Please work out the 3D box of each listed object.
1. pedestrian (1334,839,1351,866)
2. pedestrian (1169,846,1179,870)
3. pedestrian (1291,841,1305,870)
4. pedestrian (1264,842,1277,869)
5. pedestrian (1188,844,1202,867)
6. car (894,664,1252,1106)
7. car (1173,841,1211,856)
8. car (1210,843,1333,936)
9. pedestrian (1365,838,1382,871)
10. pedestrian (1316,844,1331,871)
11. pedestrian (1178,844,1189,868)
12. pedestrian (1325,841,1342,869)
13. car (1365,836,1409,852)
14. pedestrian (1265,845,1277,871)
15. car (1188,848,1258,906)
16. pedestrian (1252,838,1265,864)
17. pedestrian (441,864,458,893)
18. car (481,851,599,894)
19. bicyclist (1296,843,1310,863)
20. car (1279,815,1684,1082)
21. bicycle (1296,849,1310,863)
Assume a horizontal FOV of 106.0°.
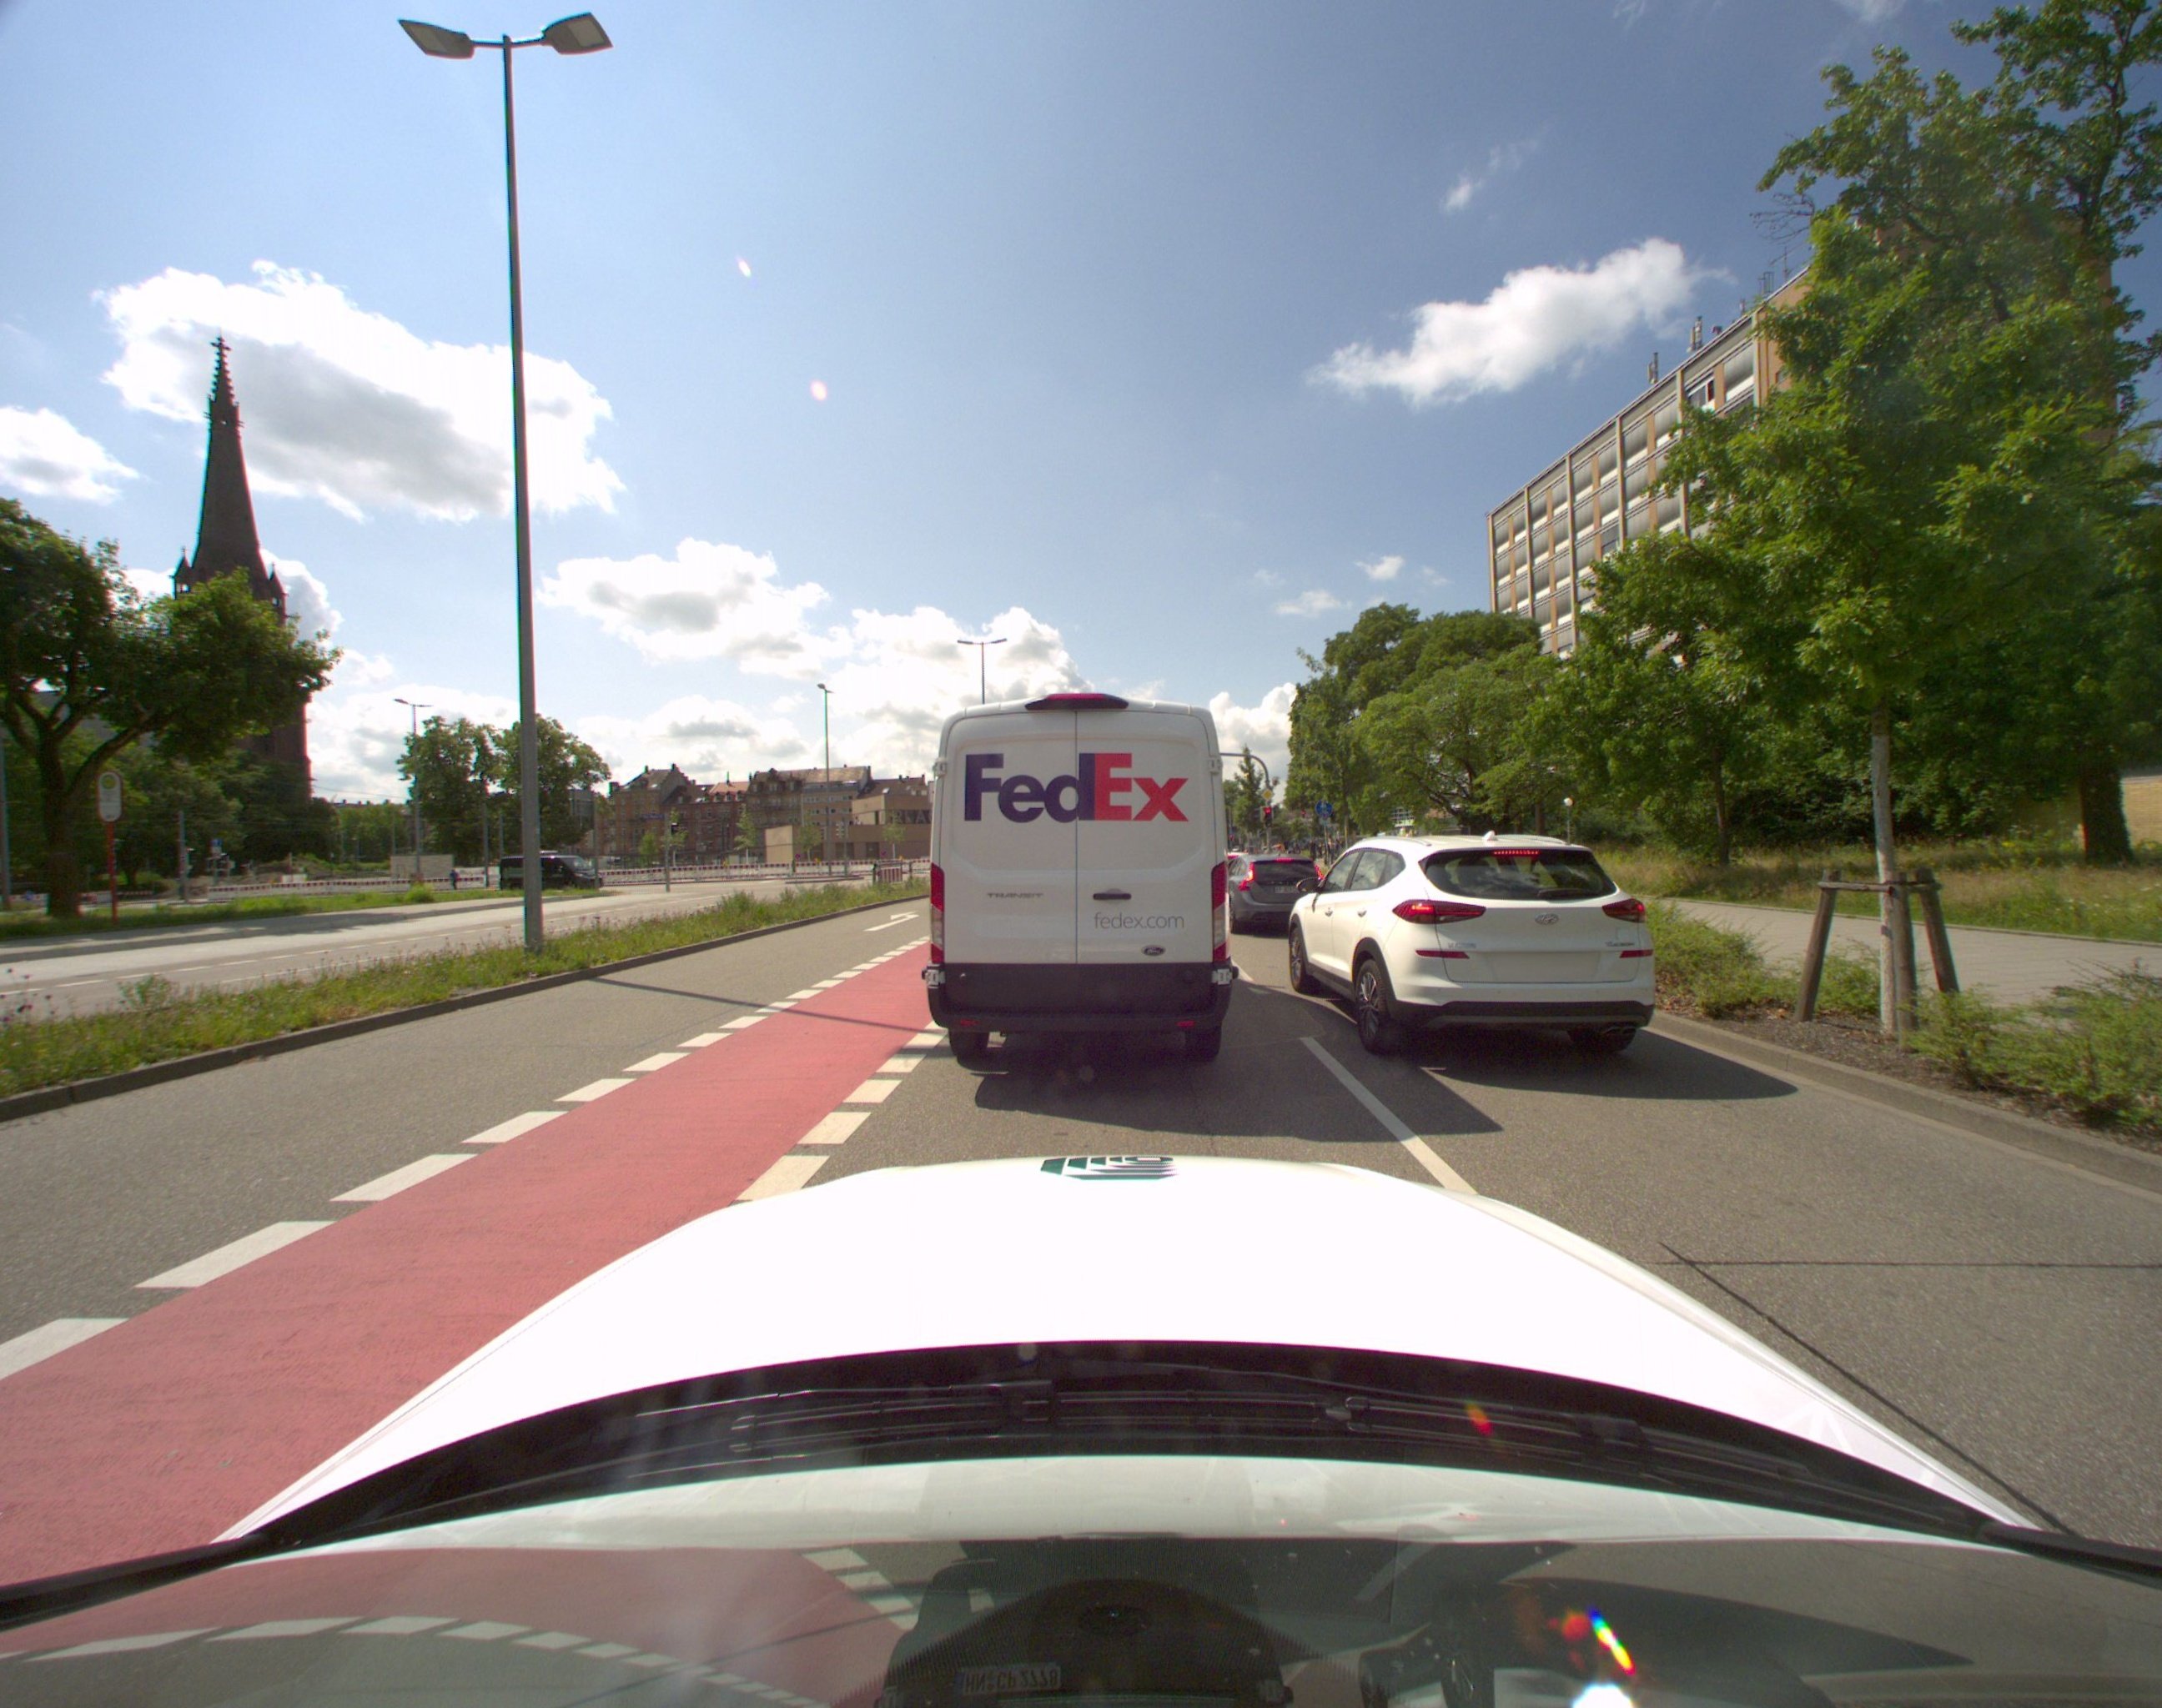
[{"bbox_3d":[17.898,-0.096,55.751,0.758,1.849,0.814,-2,0,-6],"label":"pedestrian"},{"bbox_3d":[7.423,0.310,65.146,0.755,1.849,0.817,-2,0,4],"label":"pedestrian"},{"bbox_3d":[14.046,0.100,52.609,0.752,1.849,0.820,-2,0,20],"label":"pedestrian"},{"bbox_3d":[13.155,0.101,56.537,0.752,1.849,0.820,-2,0,20],"label":"pedestrian"},{"bbox_3d":[9.374,0.095,66.888,0.764,1.849,0.807,-2,0,-34],"label":"pedestrian"},{"bbox_3d":[0.076,0.178,7.072,2.064,2.581,4.432,-2,0,3],"label":"car"},{"bbox_3d":[20.964,-1.087,154.061,7.023,2.717,2.501,0,-1,7],"label":"car"},{"bbox_3d":[3.558,0.598,15.847,1.684,1.549,3.724,-2,0,3],"label":"car"},{"bbox_3d":[16.514,0.032,46.030,0.753,1.849,0.819,-2,0,12],"label":"pedestrian"},{"bbox_3d":[15.582,0.217,52.334,0.755,1.655,0.817,-2,0,5],"label":"pedestrian"},{"bbox_3d":[8.047,0.161,64.015,0.756,1.849,0.816,-2,0,-1],"label":"pedestrian"},{"bbox_3d":[17.130,0.067,55.295,0.758,1.849,0.814,-2,0,-8],"label":"pedestrian"},{"bbox_3d":[54.339,-1.829,144.820,7.063,2.717,2.487,0,-1,-11],"label":"car"},{"bbox_3d":[13.717,0.313,58.881,0.753,1.849,0.820,-2,0,16],"label":"pedestrian"},{"bbox_3d":[3.868,0.581,22.651,1.493,1.464,3.477,-2,0,3],"label":"car"},{"bbox_3d":[13.001,-0.204,59.770,0.810,1.849,0.762,-2,0,5],"label":"pedestrian"},{"bbox_3d":[-44.385,1.725,57.200,0.644,2.013,0.632,-2,0,-1],"label":"pedestrian"},{"bbox_3d":[-30.141,1.016,45.477,4.989,2.175,2.153,-2,0,-2],"label":"car"},{"bbox_3d":[25.508,-0.128,93.636,1.421,2.171,1.345,-2,0,17],"label":"bicyclist"},{"bbox_3d":[3.063,0.601,7.254,1.807,1.678,3.978,-2,0,3],"label":"car"},{"bbox_3d":[25.450,0.203,93.385,1.414,1.464,4.330,-2,0,17],"label":"bicycle"}]
